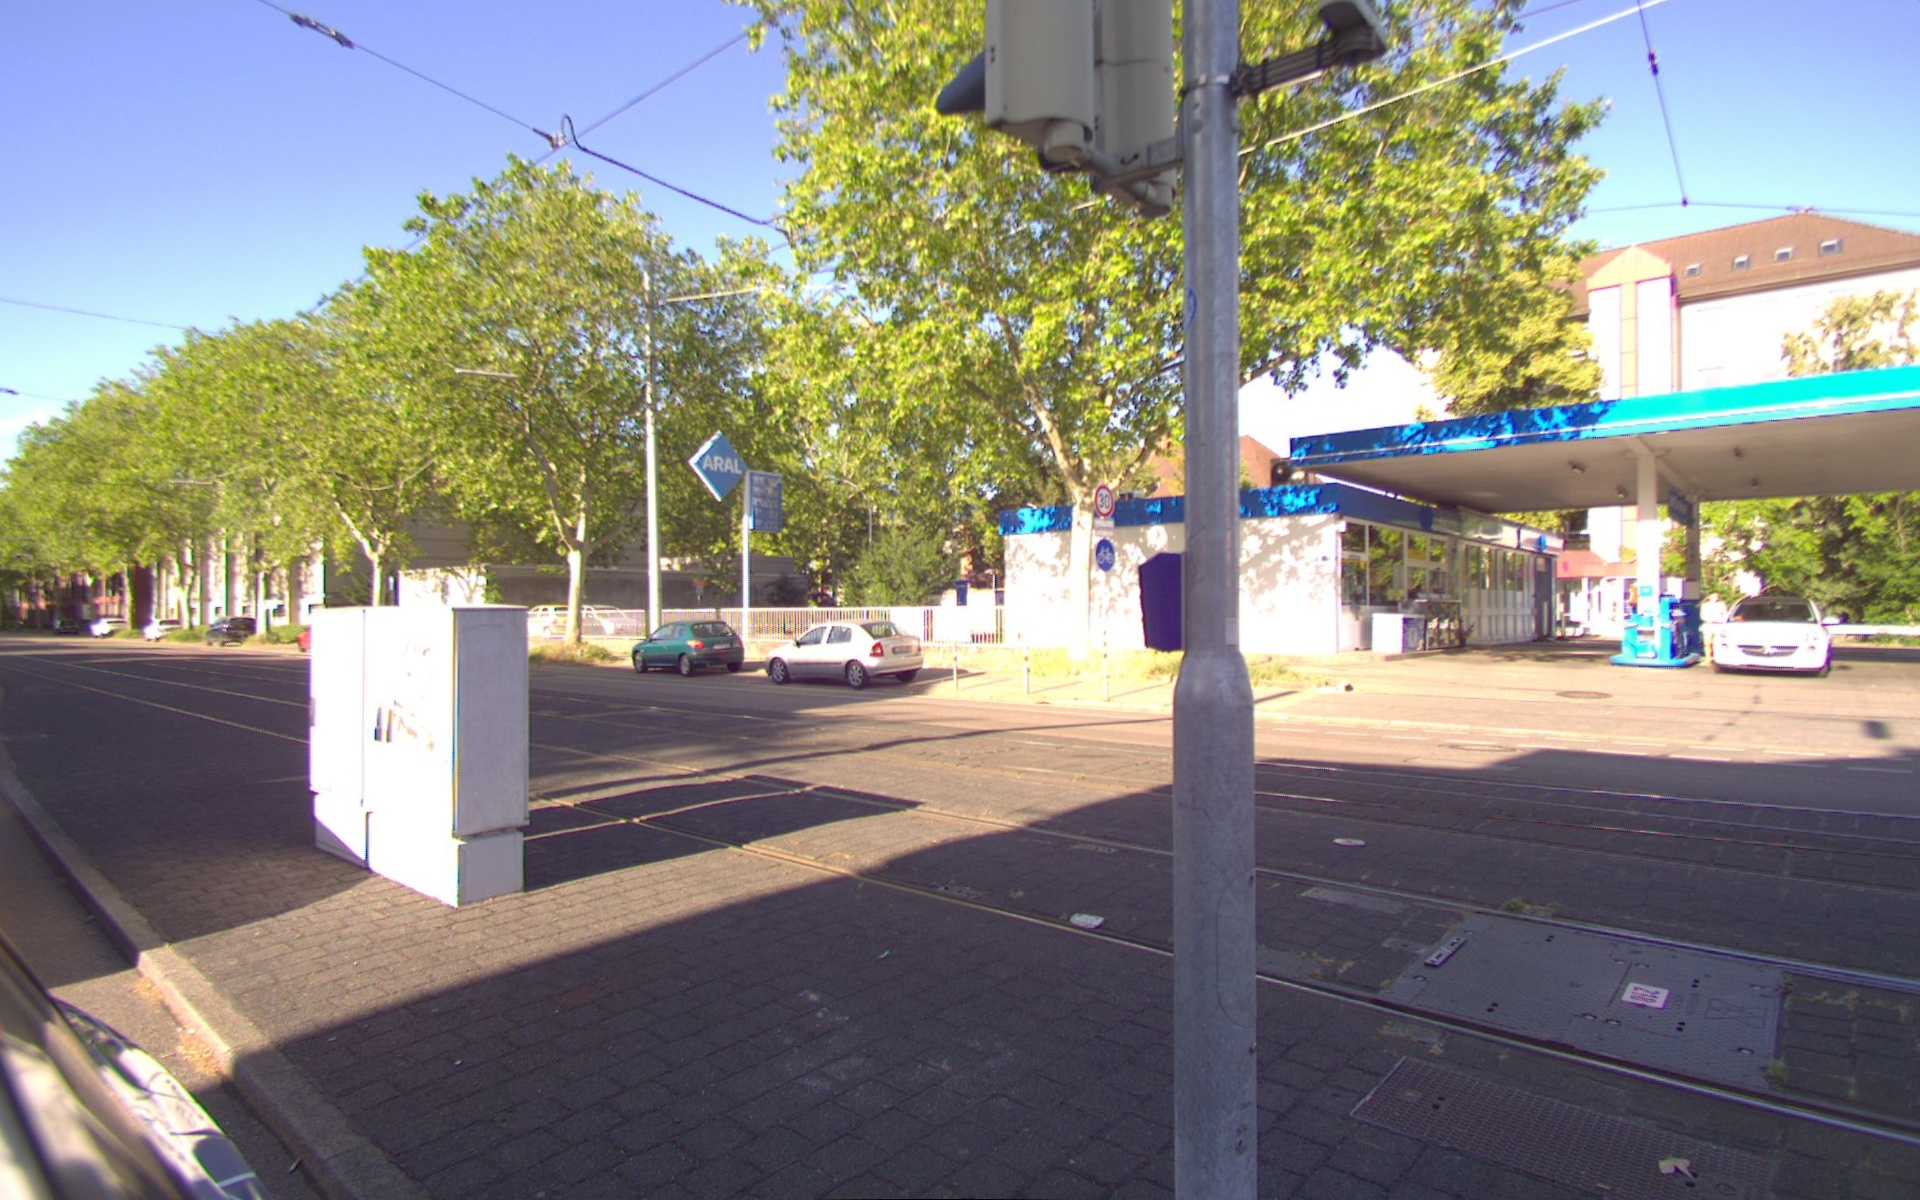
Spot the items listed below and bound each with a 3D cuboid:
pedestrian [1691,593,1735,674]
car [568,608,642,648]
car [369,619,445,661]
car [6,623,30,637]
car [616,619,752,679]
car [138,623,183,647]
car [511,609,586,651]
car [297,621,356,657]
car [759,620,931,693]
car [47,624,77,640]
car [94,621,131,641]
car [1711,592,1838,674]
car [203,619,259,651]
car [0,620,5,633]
[{"bbox_3d":[16.154,0.711,21.712,0.493,1.714,0.649,1,-2,-45],"label":"pedestrian"},{"bbox_3d":[-15.260,1.197,43.430,3.303,1.604,1.579,-1,0,41],"label":"car"},{"bbox_3d":[-21.870,1.561,39.985,3.303,1.519,1.579,-1,1,41],"label":"car"},{"bbox_3d":[-112.137,3.567,120.482,3.748,1.459,1.674,-1,1,41],"label":"car"},{"bbox_3d":[-7.394,1.269,26.955,3.748,1.413,1.674,-1,1,41],"label":"car"},{"bbox_3d":[-53.857,2.346,68.159,3.748,1.459,1.674,-1,1,41],"label":"car"},{"bbox_3d":[-17.079,1.233,41.953,3.303,1.628,1.579,-1,0,41],"label":"car"},{"bbox_3d":[-28.681,1.759,45.812,2.621,1.519,1.579,-1,1,41],"label":"car"},{"bbox_3d":[-2.629,1.208,22.627,3.812,1.413,1.674,-1,1,41],"label":"car"},{"bbox_3d":[-85.236,3.034,96.022,3.748,1.459,1.674,-1,1,41],"label":"car"},{"bbox_3d":[-66.675,2.450,79.586,3.748,1.459,1.674,-1,1,41],"label":"car"},{"bbox_3d":[15.893,0.611,19.681,1.757,1.453,3.521,-1,-1,41],"label":"car"},{"bbox_3d":[-40.671,1.943,56.435,3.748,1.670,1.674,-1,1,41],"label":"car"},{"bbox_3d":[-133.930,3.682,140.448,3.748,1.798,1.674,-1,1,41],"label":"car"}]
